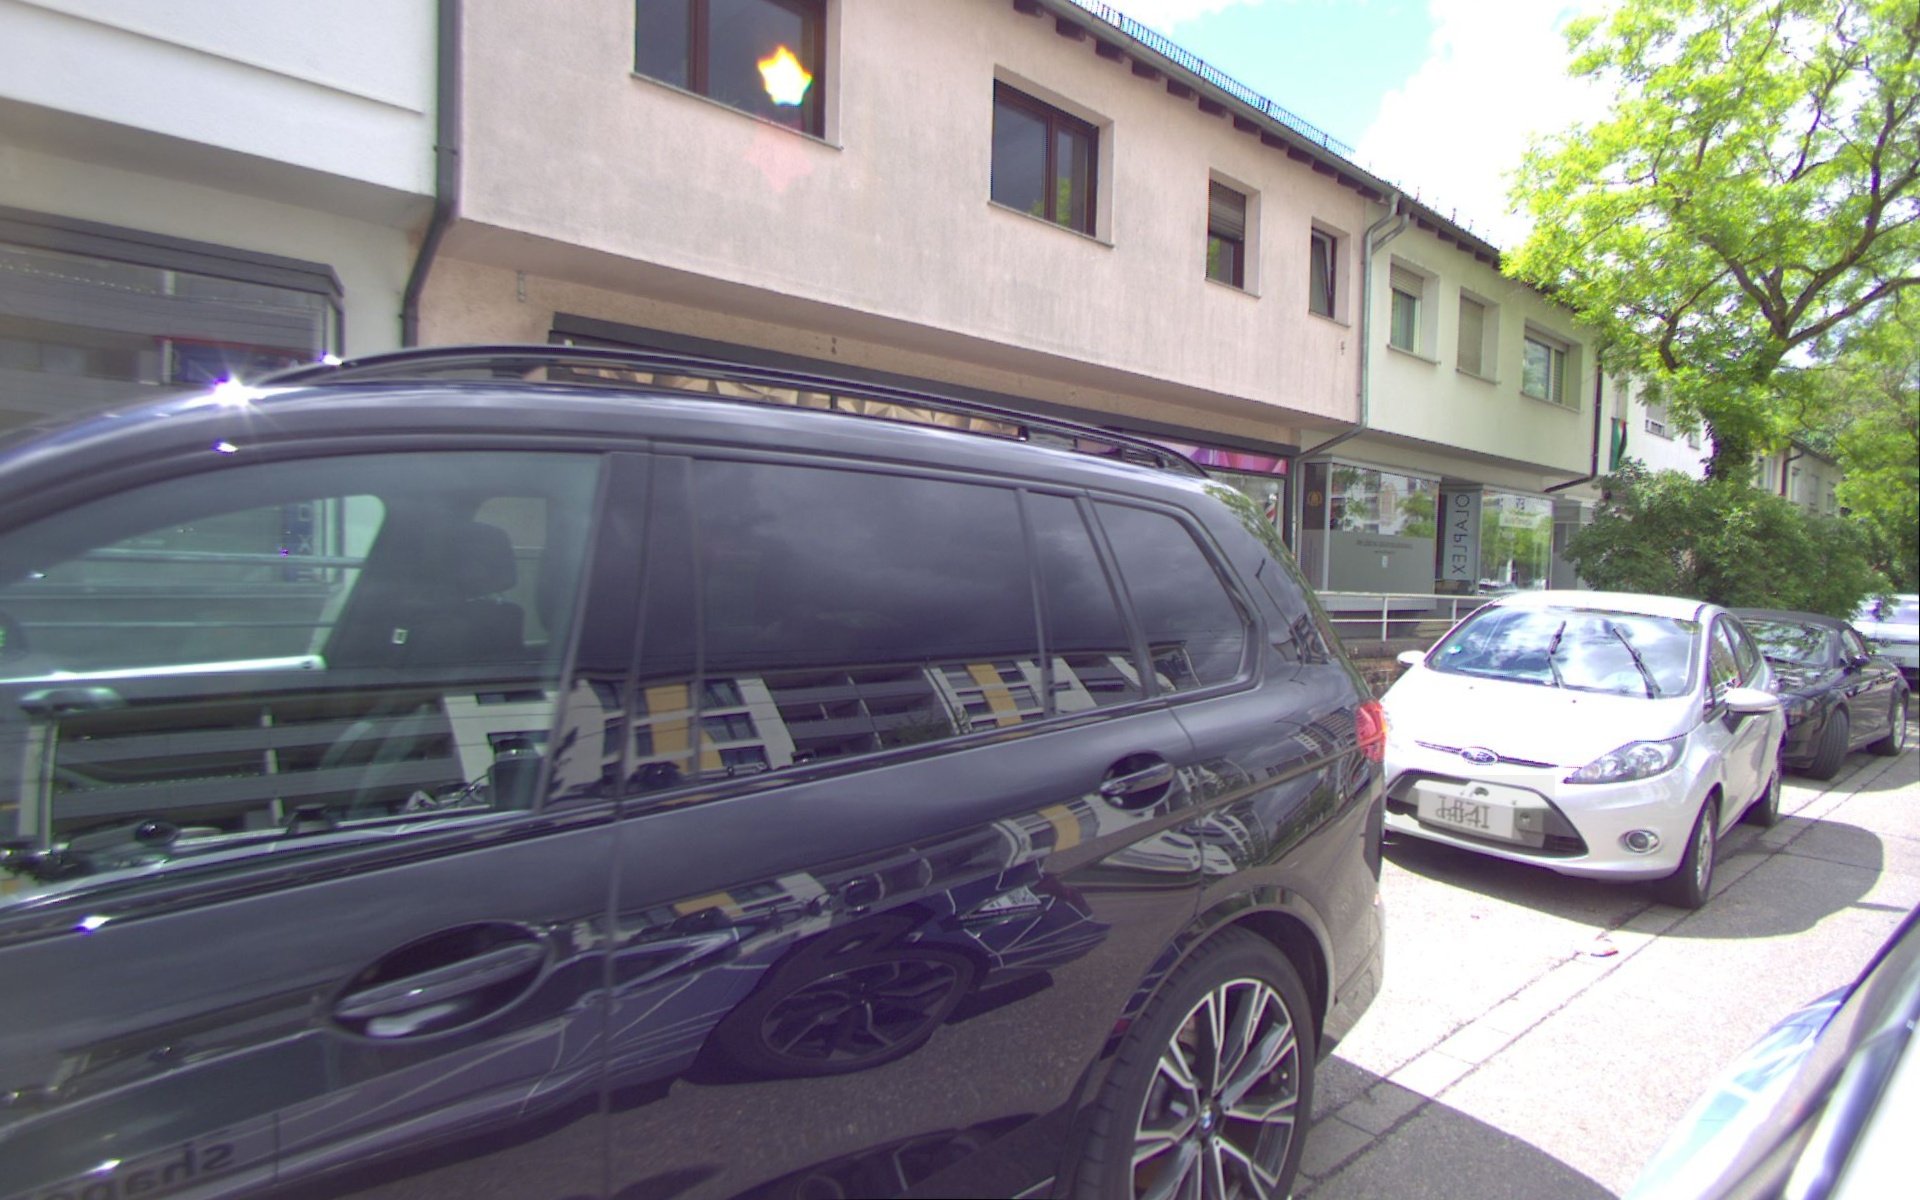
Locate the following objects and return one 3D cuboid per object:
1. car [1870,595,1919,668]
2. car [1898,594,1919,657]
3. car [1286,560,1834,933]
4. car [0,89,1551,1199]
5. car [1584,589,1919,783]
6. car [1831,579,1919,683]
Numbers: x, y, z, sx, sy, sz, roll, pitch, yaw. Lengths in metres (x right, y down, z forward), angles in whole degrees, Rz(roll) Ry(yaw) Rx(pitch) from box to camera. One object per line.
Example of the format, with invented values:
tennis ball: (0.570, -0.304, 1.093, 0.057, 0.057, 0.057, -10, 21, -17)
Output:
car: (20.942, 0.642, 21.587, 4.368, 1.443, 1.728, 0, 2, -41)
car: (25.296, 0.631, 25.460, 4.822, 1.517, 1.818, 0, 2, -39)
car: (3.803, 0.563, 6.132, 3.834, 1.459, 1.774, -1, 5, -43)
car: (-0.975, 0.450, 1.962, 4.985, 1.810, 2.020, 0, 3, -40)
car: (7.774, 0.649, 9.626, 3.926, 1.365, 1.777, 0, 4, -37)
car: (16.983, 0.491, 17.880, 4.353, 1.664, 1.841, 0, 2, -42)
